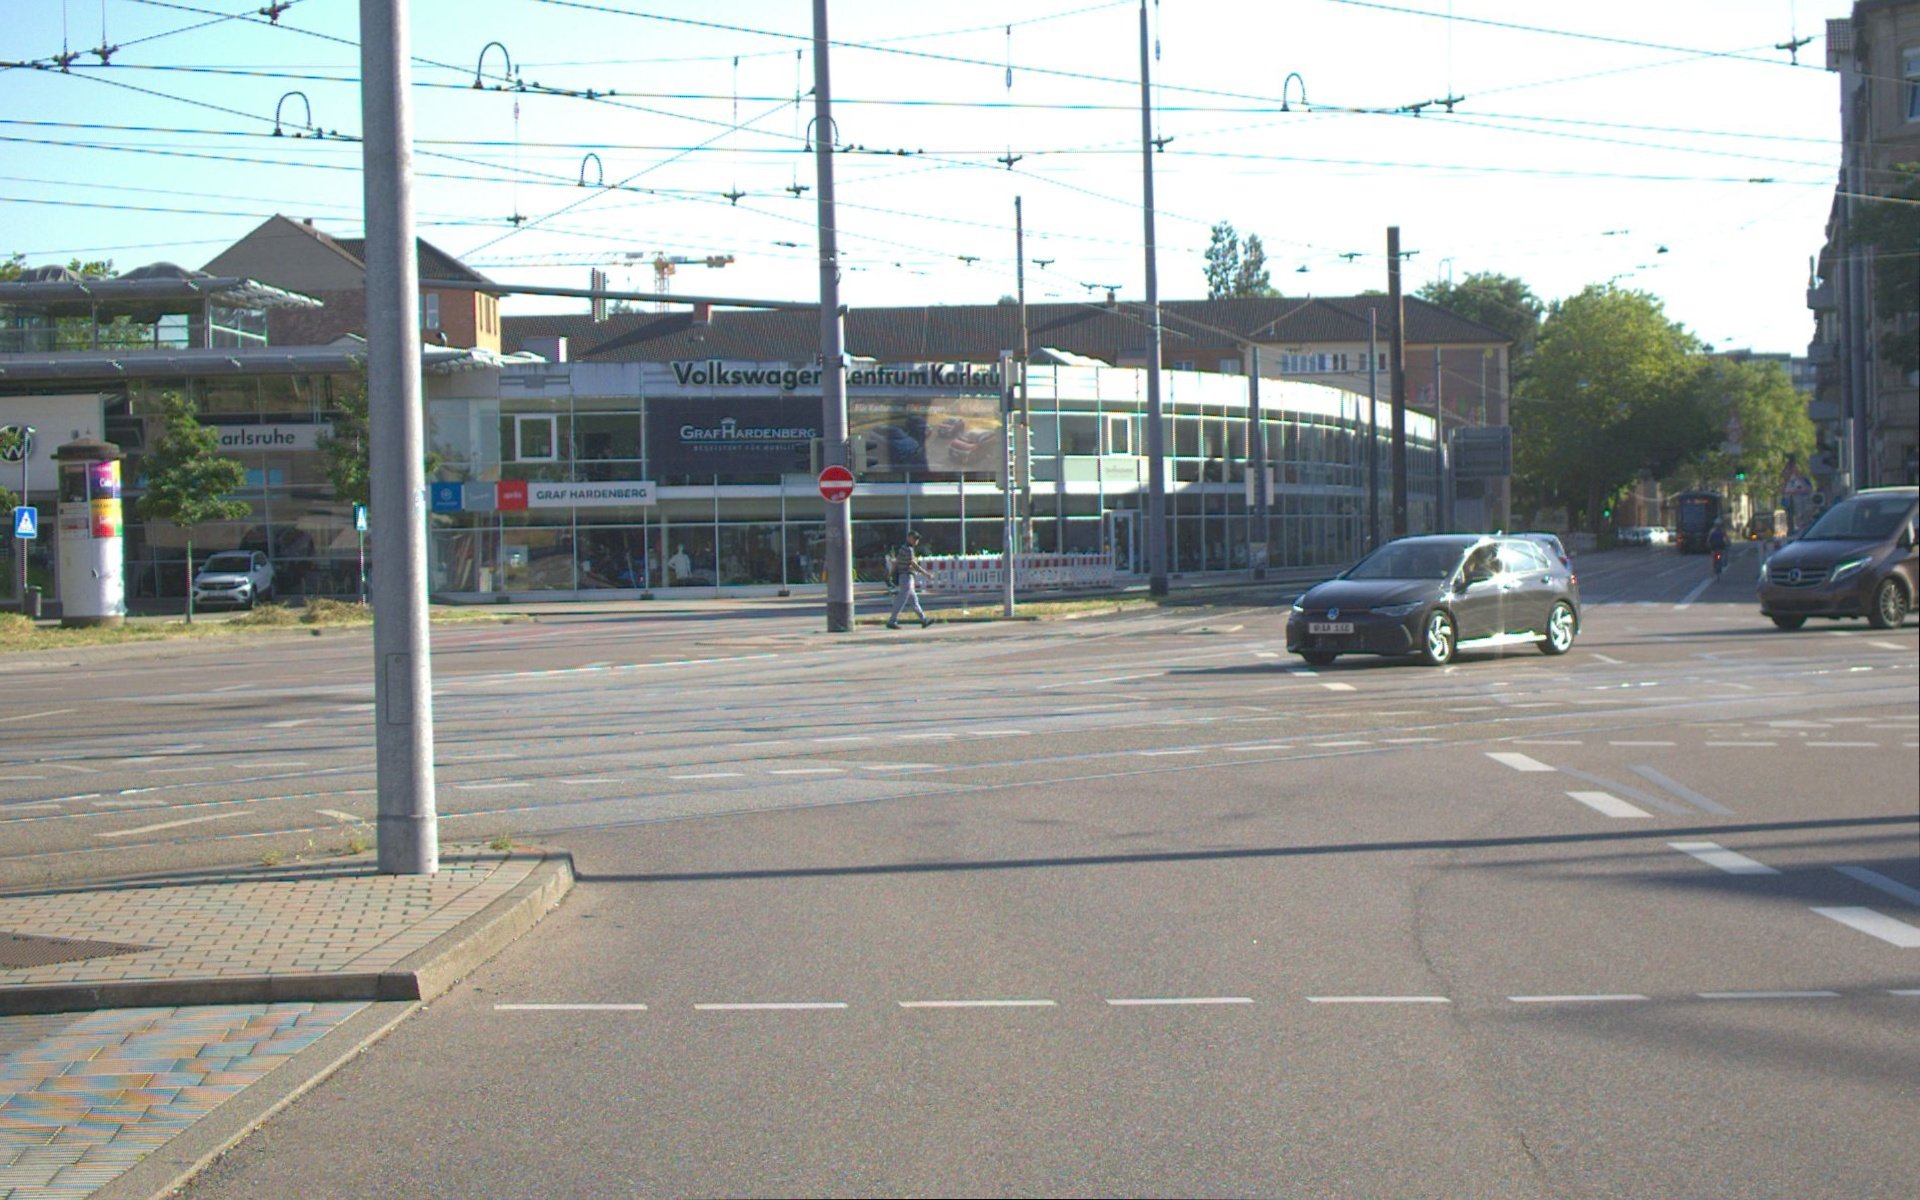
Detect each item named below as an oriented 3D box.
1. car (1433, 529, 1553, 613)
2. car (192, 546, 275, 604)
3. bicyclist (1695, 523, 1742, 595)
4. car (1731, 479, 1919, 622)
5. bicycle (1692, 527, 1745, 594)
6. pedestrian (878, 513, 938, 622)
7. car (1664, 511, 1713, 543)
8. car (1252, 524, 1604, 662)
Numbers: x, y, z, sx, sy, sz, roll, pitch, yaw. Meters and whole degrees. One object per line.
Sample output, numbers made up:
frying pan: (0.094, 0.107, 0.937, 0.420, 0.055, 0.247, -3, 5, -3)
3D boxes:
car: (10.531, -0.599, 68.205, 1.947, 1.588, 4.616, -1, 1, 4)
car: (-21.272, -0.754, 100.763, 1.993, 1.529, 4.001, 0, 3, -6)
bicyclist: (20.600, -1.118, 93.361, 1.120, 1.894, 1.073, 1, 3, 17)
car: (13.048, -0.710, 47.631, 4.836, 1.887, 1.953, -2, 1, -38)
bicycle: (20.614, -1.089, 93.392, 1.136, 1.684, 3.997, 1, 3, 16)
pedestrian: (-0.886, -0.559, 57.967, 0.989, 1.810, 0.920, 0, 3, -2)
car: (40.710, -4.096, 192.274, 1.801, 1.650, 3.918, 0, 3, -2)
car: (5.457, -0.110, 39.772, 1.952, 1.481, 4.092, 0, 1, 45)
